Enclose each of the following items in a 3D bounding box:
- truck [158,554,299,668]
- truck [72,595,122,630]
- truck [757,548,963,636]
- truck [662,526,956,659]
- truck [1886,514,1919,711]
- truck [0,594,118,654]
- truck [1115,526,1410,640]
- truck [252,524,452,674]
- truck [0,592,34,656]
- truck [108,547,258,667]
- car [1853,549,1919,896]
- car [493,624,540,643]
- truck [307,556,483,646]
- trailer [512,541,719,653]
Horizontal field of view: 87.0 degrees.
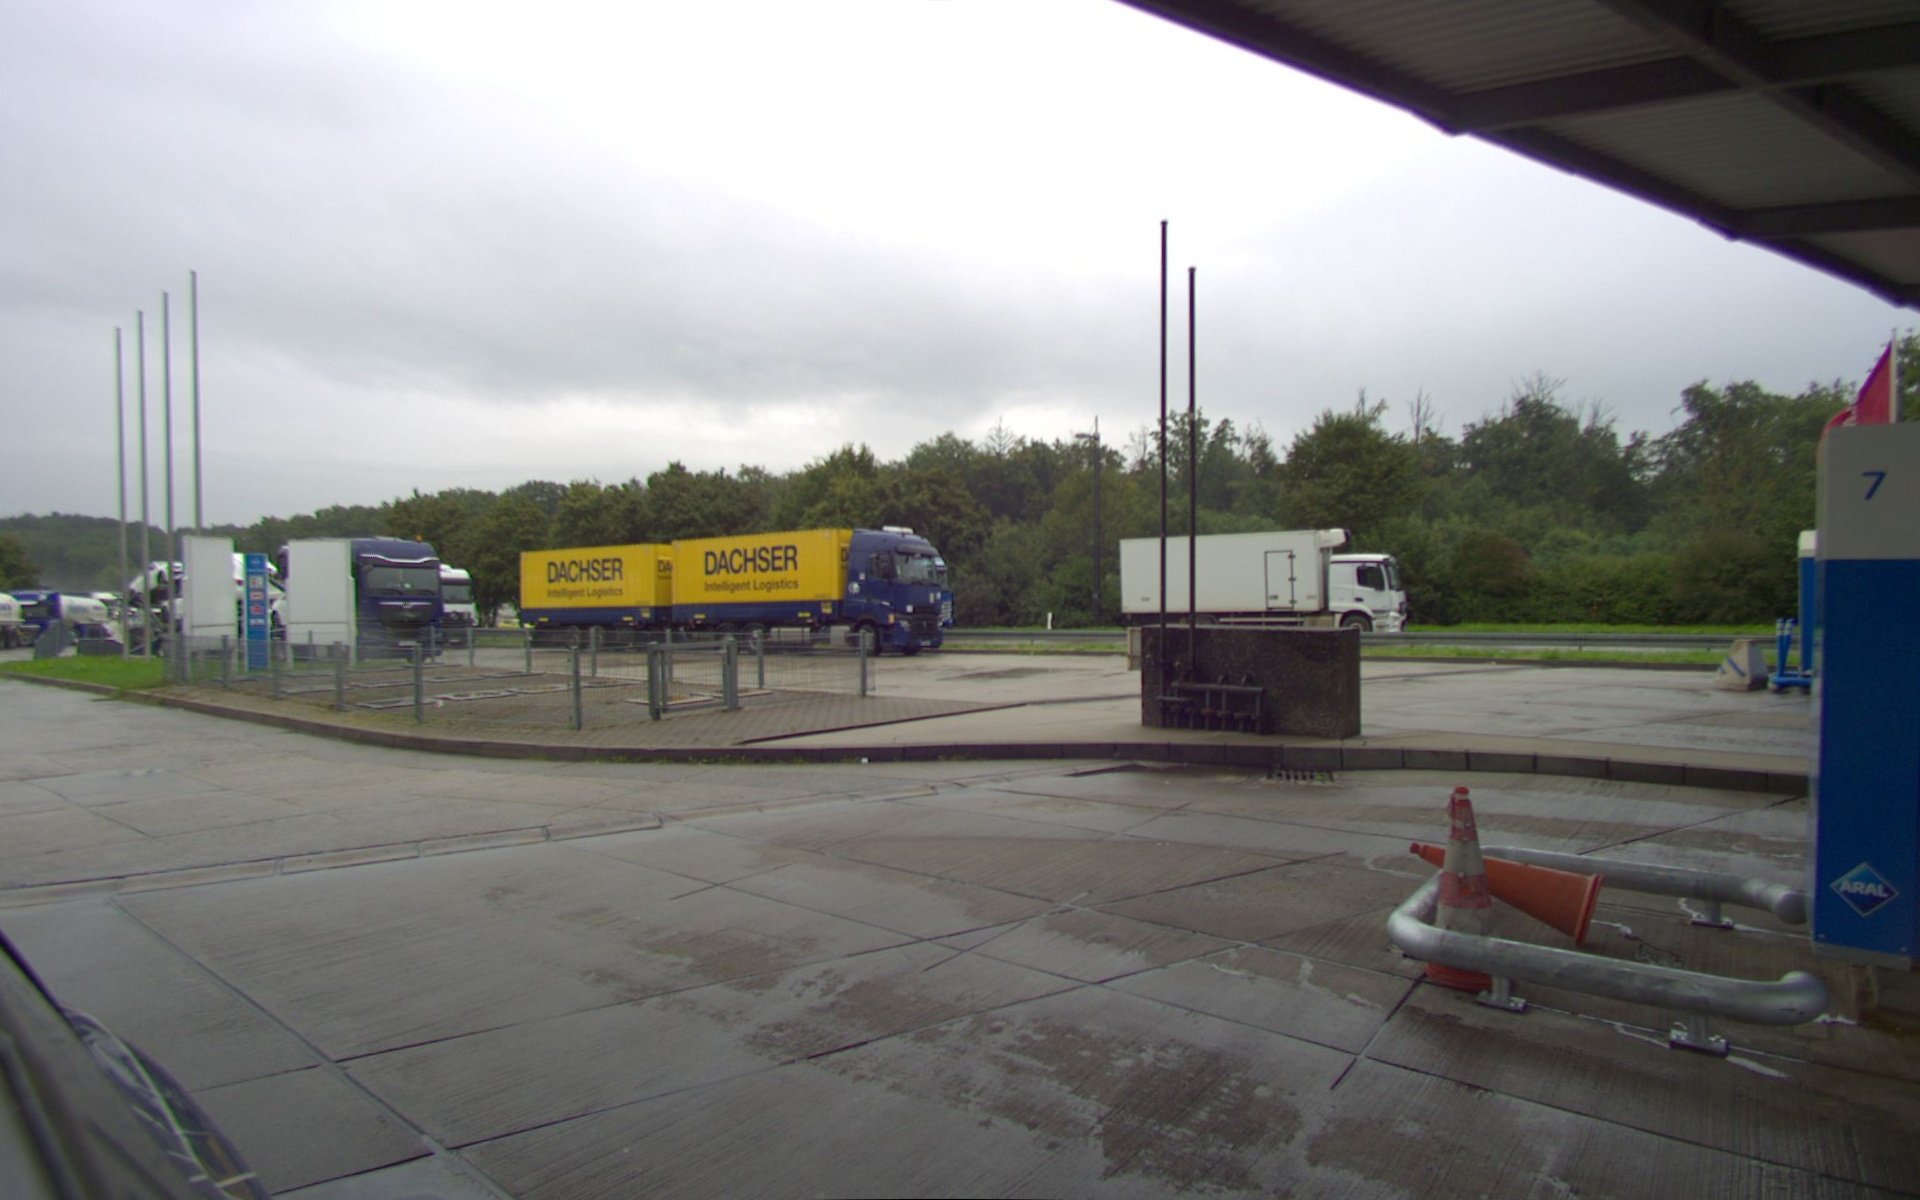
[{"bbox_3d":[-26.105,0.395,36.085,4.738,3.800,2.635,-1,0,34],"label":"truck"},{"bbox_3d":[-129.618,1.904,151.924,11.498,5.160,3.109,-1,0,36],"label":"truck"},{"bbox_3d":[-4.877,-0.314,47.655,10.195,3.836,2.395,-1,0,31],"label":"truck"},{"bbox_3d":[-5.335,-0.178,34.040,10.654,3.946,2.727,-1,0,33],"label":"truck"},{"bbox_3d":[14.995,0.124,11.966,5.859,2.513,2.208,-1,0,41],"label":"truck"},{"bbox_3d":[-61.493,1.622,68.667,3.454,3.633,14.709,-1,-1,-27],"label":"truck"},{"bbox_3d":[10.971,-0.518,37.460,10.195,3.836,2.395,-1,0,31],"label":"truck"},{"bbox_3d":[-19.007,0.011,31.489,7.089,4.213,2.635,-1,0,35],"label":"truck"},{"bbox_3d":[-55.154,1.338,53.700,3.454,3.633,14.444,-1,-1,-19],"label":"truck"},{"bbox_3d":[-29.587,0.299,38.458,6.605,4.213,2.635,-1,0,35],"label":"truck"},{"bbox_3d":[6.912,0.542,3.811,5.269,1.620,1.842,-1,0,41],"label":"car"},{"bbox_3d":[-41.807,3.133,95.390,3.977,1.772,1.875,-1,0,25],"label":"car"},{"bbox_3d":[-27.317,0.104,48.639,10.654,3.946,2.727,-1,0,33],"label":"truck"},{"bbox_3d":[-13.498,-0.074,39.269,8.679,3.946,2.728,-1,0,32],"label":"trailer"}]
